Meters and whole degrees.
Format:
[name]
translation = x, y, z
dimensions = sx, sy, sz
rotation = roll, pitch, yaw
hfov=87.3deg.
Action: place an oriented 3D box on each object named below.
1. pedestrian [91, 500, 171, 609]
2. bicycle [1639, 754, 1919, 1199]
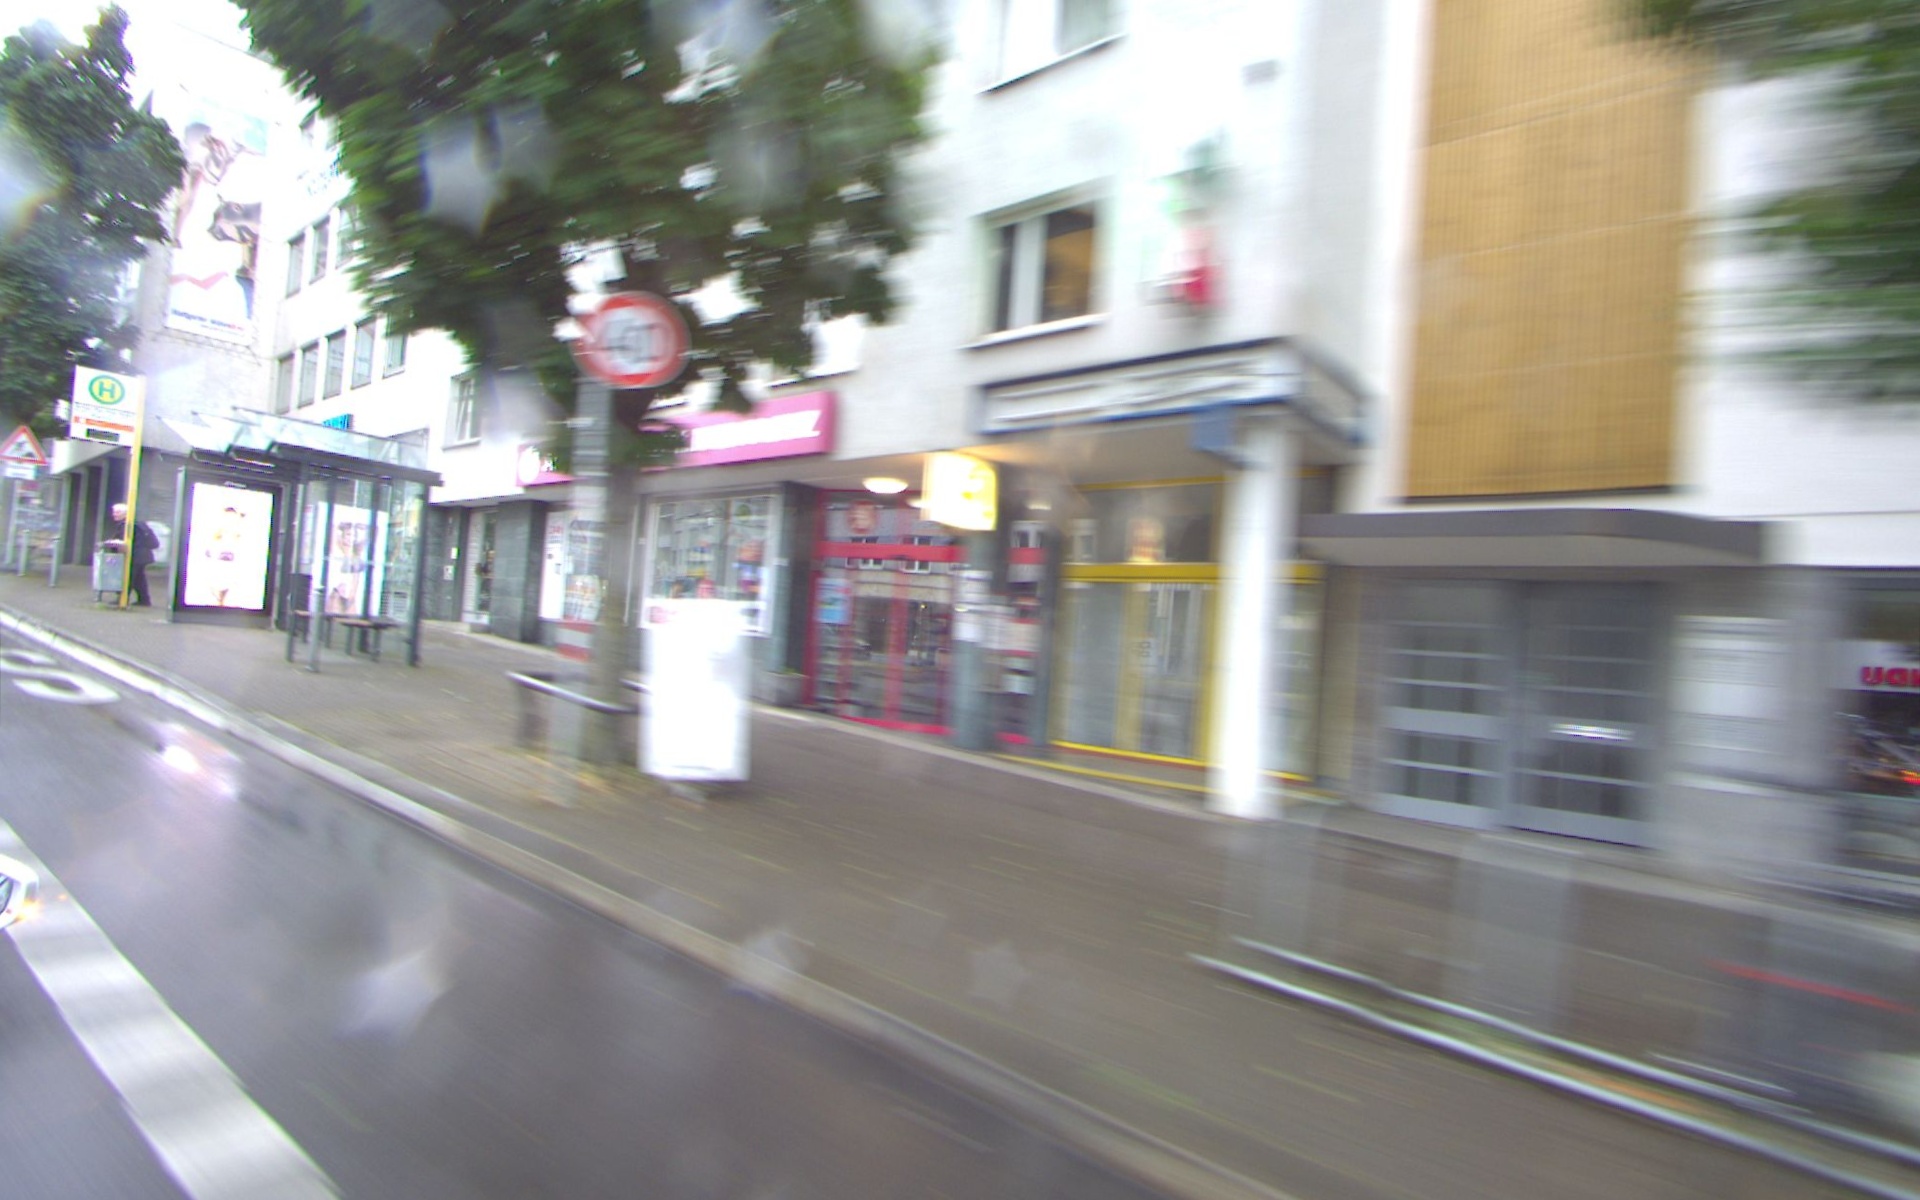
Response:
[pedestrian]
translation = -13.410, -0.732, 16.269
dimensions = 0.953, 1.645, 0.665
rotation = 6, -1, 37
[bicycle]
translation = 2.711, 1.149, 3.163
dimensions = 0.640, 1.188, 2.313
rotation = 4, -3, 41
